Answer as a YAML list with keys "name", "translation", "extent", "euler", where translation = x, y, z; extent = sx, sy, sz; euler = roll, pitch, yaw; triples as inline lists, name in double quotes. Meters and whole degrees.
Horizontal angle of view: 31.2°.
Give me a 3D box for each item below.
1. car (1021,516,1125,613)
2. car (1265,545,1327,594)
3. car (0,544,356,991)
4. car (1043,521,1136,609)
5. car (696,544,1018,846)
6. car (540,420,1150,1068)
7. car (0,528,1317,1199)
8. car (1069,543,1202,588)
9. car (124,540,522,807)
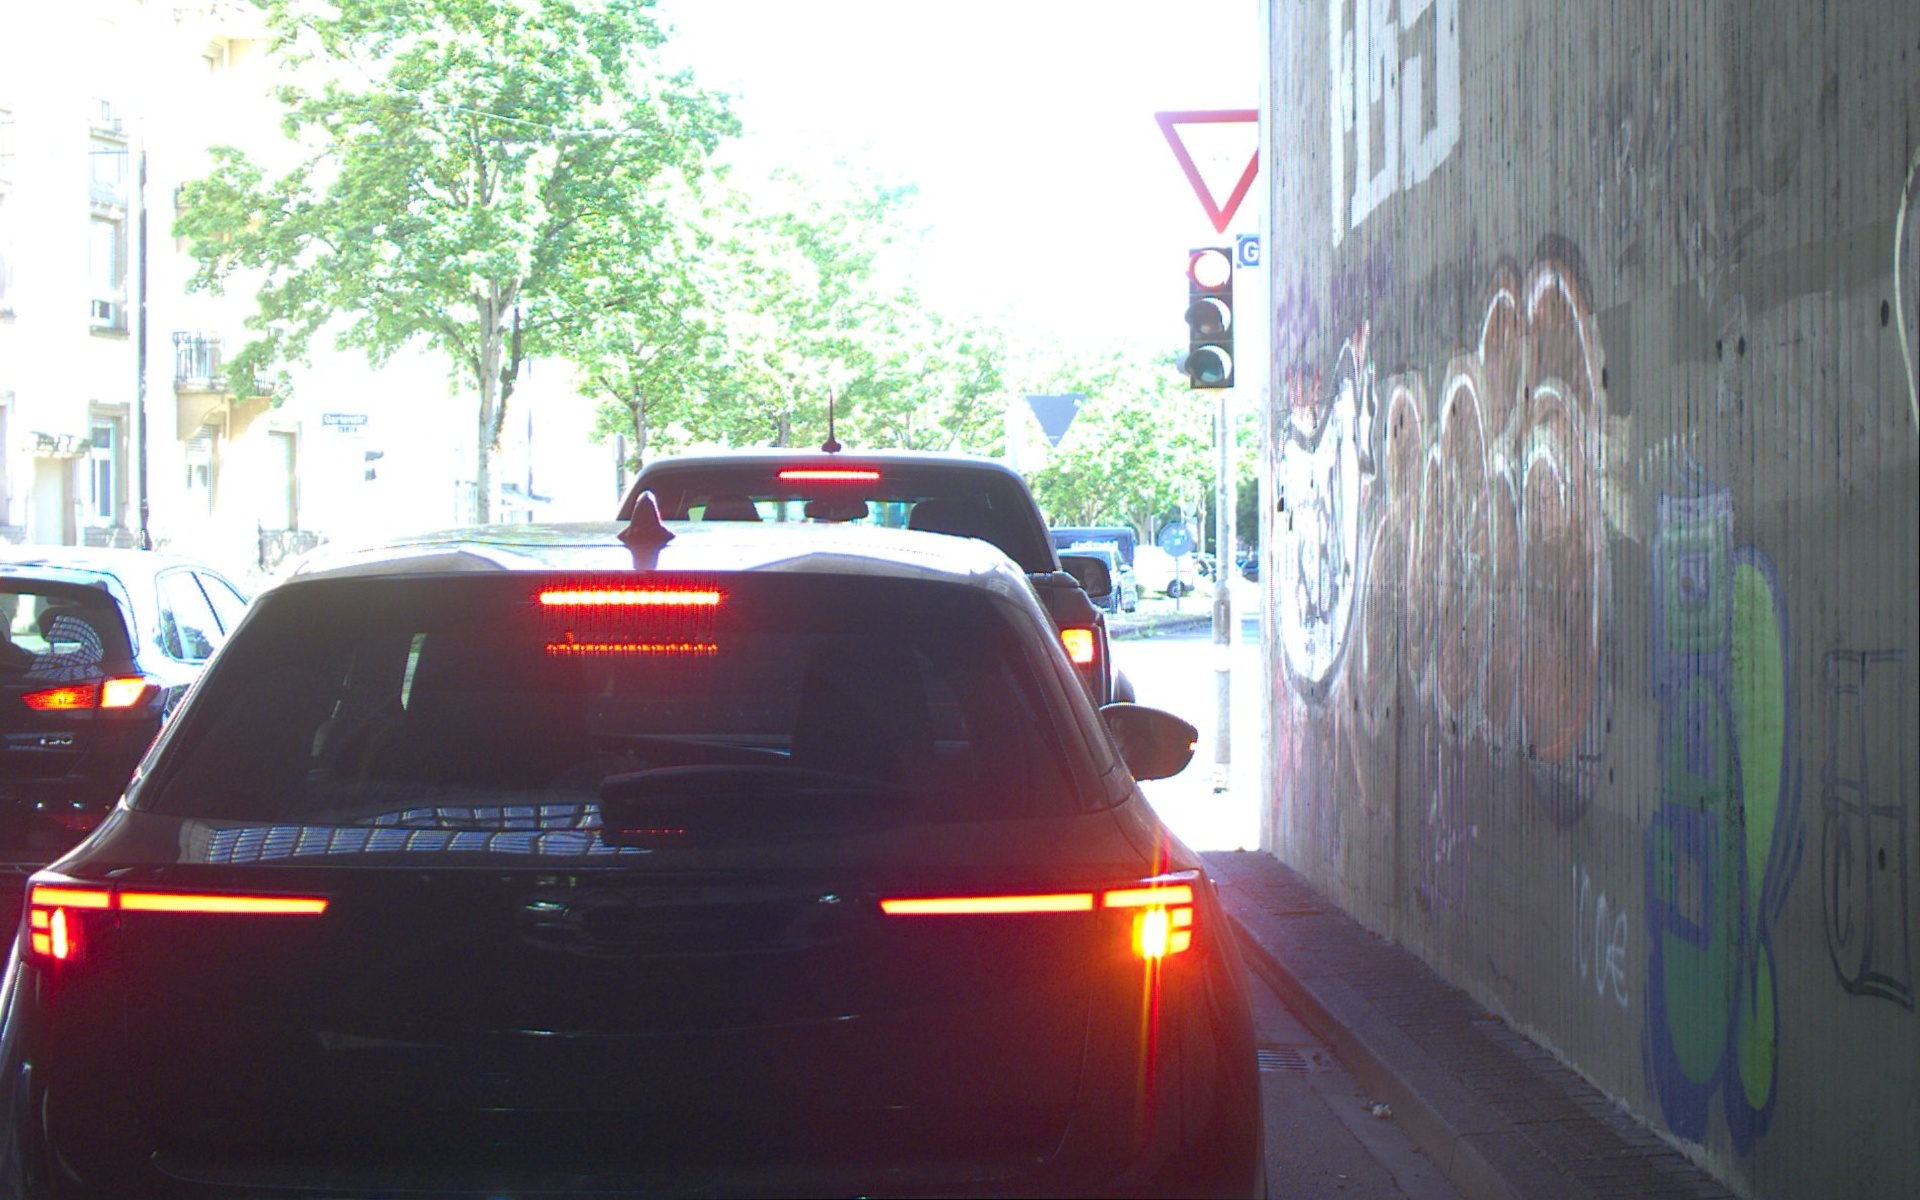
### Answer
- name: "car"
  translation: [2.075, -0.639, 62.200]
  extent: [1.754, 1.661, 3.944]
  euler: [1, 1, 3]
- name: "car"
  translation: [11.679, -1.063, 119.305]
  extent: [1.754, 1.661, 3.943]
  euler: [1, 1, 11]
- name: "car"
  translation: [-3.534, 0.524, 13.293]
  extent: [1.762, 1.475, 3.844]
  euler: [0, 1, -1]
- name: "car"
  translation: [2.596, -0.692, 68.319]
  extent: [1.754, 1.661, 3.944]
  euler: [1, 1, 3]
- name: "car"
  translation: [-0.541, 0.447, 19.265]
  extent: [1.609, 1.508, 4.054]
  euler: [0, 1, -1]
- name: "car"
  translation: [-0.357, 0.385, 12.045]
  extent: [1.762, 1.876, 4.146]
  euler: [0, 1, -1]
- name: "car"
  translation: [-0.485, 0.647, 6.104]
  extent: [1.762, 1.526, 4.089]
  euler: [0, 1, -1]
- name: "car"
  translation: [6.830, -1.329, 133.779]
  extent: [4.798, 1.661, 1.824]
  euler: [1, 1, -21]
- name: "car"
  translation: [-3.783, 0.377, 21.017]
  extent: [1.762, 1.475, 3.844]
  euler: [0, 1, -1]
